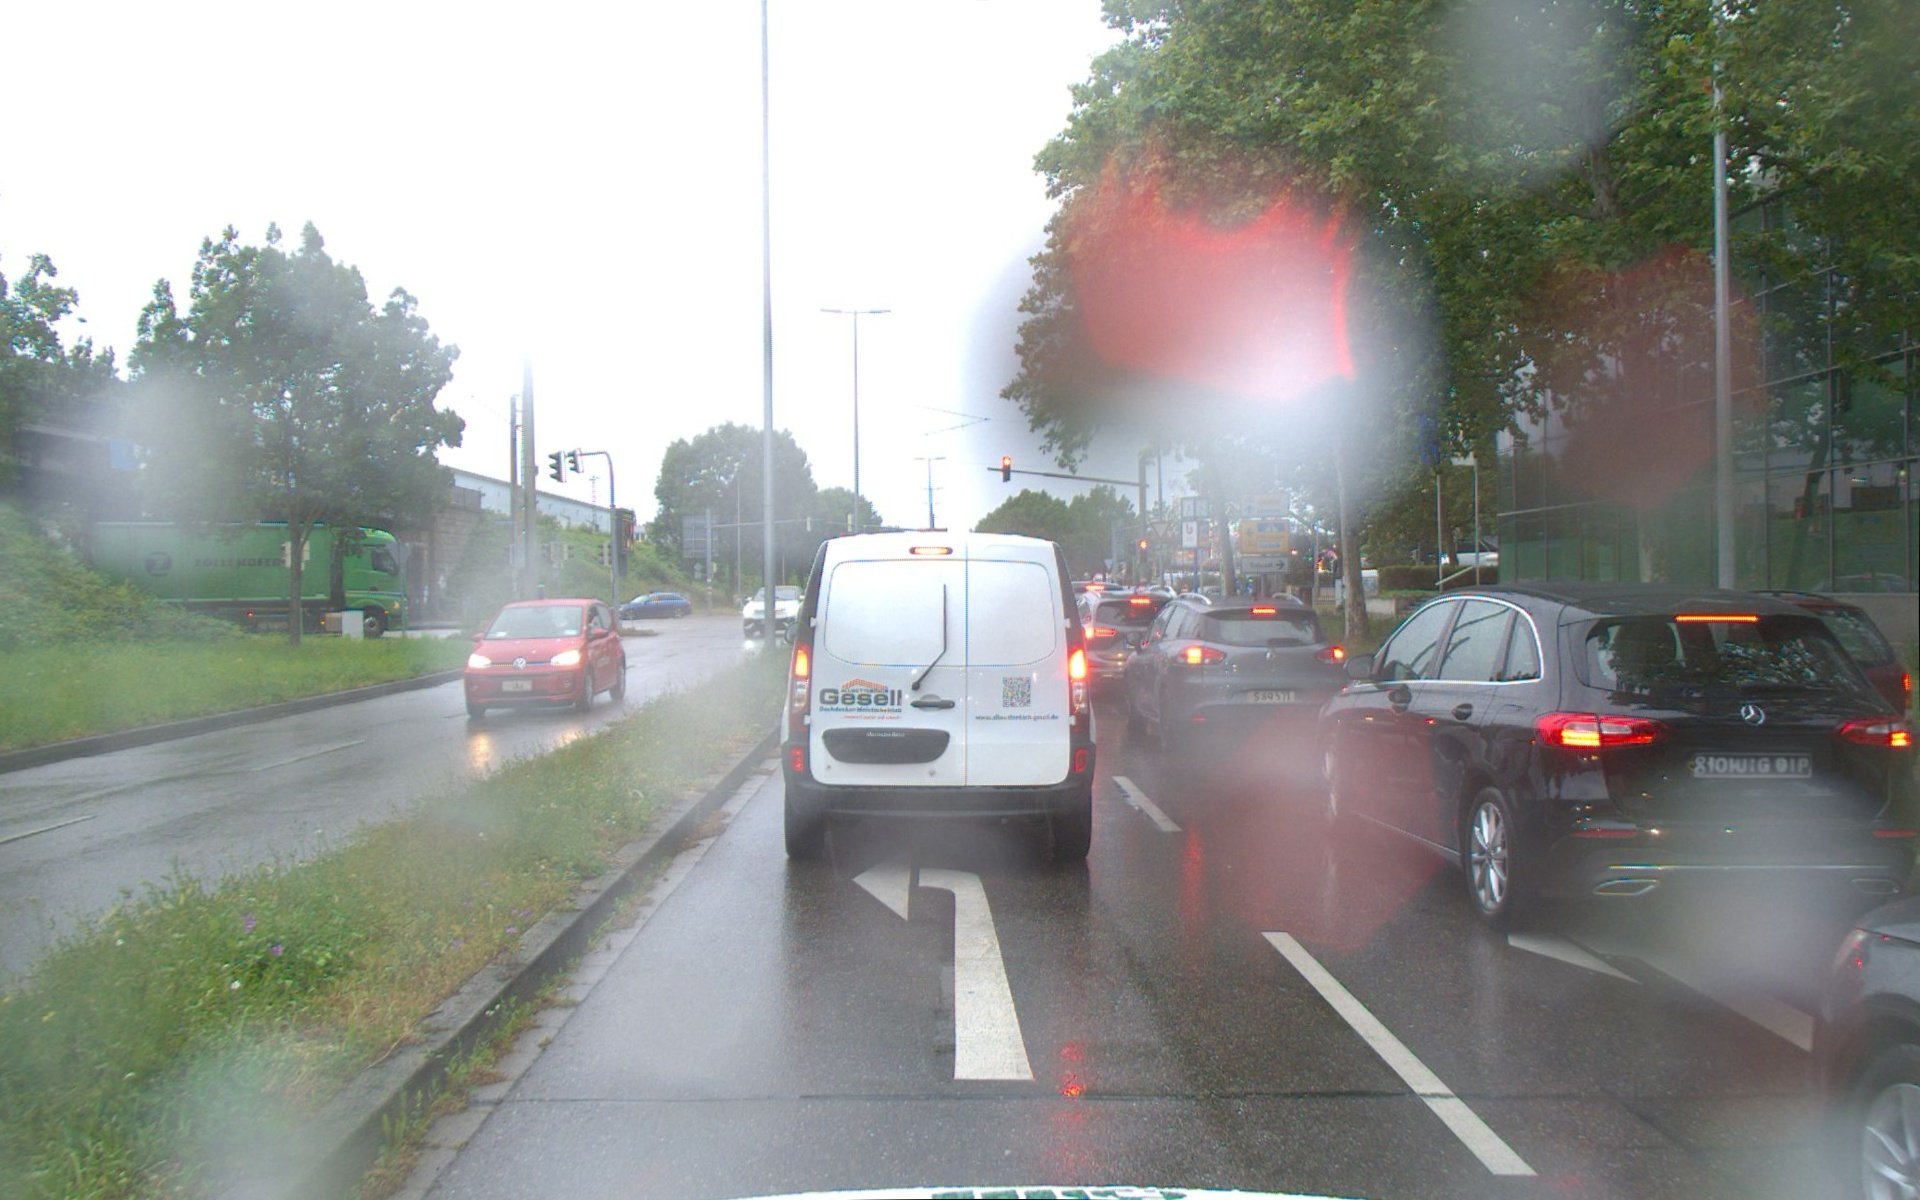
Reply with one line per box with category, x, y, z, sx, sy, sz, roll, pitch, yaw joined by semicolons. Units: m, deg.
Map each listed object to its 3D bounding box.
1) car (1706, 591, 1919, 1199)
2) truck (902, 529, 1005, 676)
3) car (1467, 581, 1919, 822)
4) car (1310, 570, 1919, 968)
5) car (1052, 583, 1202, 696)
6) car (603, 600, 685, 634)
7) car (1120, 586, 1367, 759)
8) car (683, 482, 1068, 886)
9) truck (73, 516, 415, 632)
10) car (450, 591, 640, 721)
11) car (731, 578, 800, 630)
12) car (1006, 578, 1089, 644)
car;2.977;0.729;2.283;1.954;1.477;3.998;0;0;-3
truck;-0.180;0.042;30.225;1.721;2.509;3.998;0;0;-3
car;5.547;0.669;12.895;1.802;1.563;4.110;1;0;-2
car;3.168;0.637;8.643;1.674;1.577;3.998;0;1;-3
car;2.311;0.499;23.801;1.677;1.470;3.999;0;1;-1
car;-16.618;0.875;86.973;3.888;1.551;1.760;-3;1;-27
car;2.652;0.606;16.307;1.677;1.470;3.999;0;1;-1
car;-0.513;0.406;10.432;1.954;2.049;3.998;0;1;-3
truck;-23.372;-0.700;54.524;10.038;3.512;2.622;1;-2;-39
car;-5.619;0.704;22.811;1.681;1.540;3.614;-2;1;0
car;-6.399;0.110;54.789;1.923;1.551;4.332;-2;1;-3
car;2.017;0.227;38.977;1.677;1.470;3.999;0;1;-1
